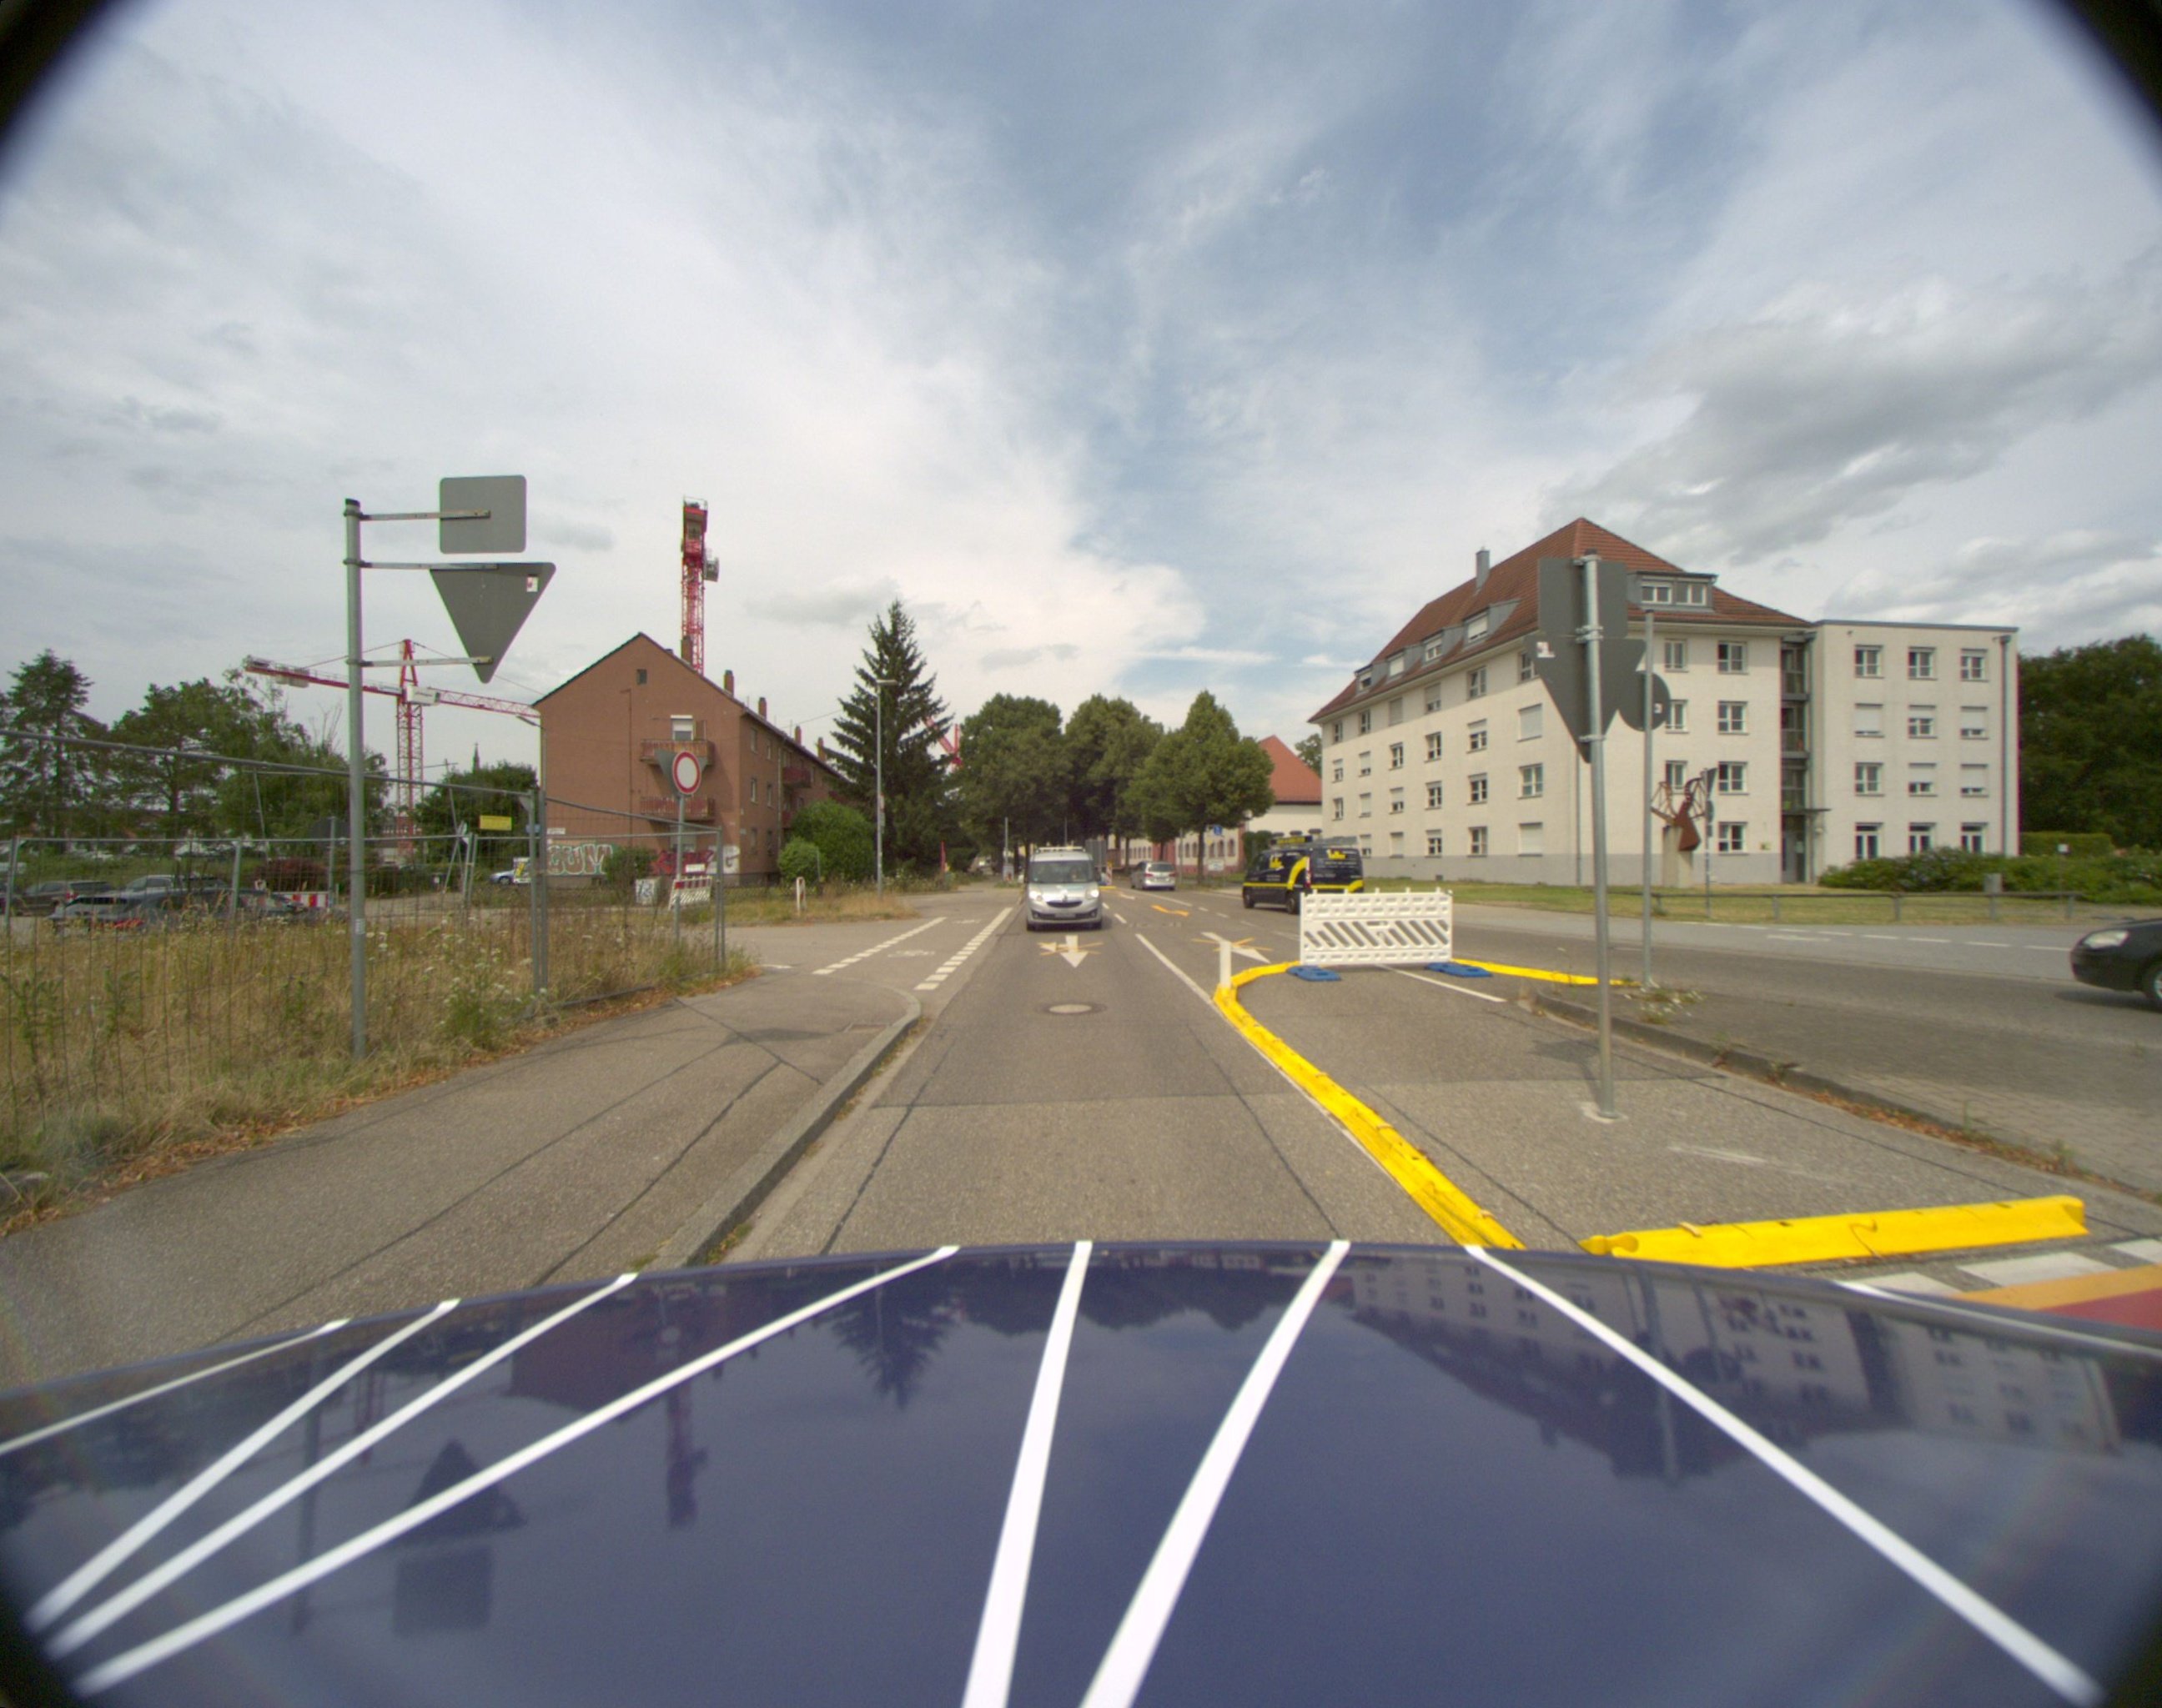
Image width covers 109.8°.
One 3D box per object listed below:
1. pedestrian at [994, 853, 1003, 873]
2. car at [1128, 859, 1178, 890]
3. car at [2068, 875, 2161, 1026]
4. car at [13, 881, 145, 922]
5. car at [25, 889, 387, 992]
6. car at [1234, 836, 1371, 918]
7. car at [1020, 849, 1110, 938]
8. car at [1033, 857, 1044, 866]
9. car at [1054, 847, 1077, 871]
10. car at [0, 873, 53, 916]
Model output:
[{"bbox_3d":[-8.400,0.923,77.497,0.856,2.002,0.731,-1,0,-10],"label":"pedestrian"},{"bbox_3d":[4.028,1.135,43.214,1.801,1.613,4.745,-1,0,-8],"label":"car"},{"bbox_3d":[11.471,0.910,6.357,1.635,1.406,3.713,1,-1,-28],"label":"car"},{"bbox_3d":[-41.684,1.948,31.646,4.006,1.593,1.804,-1,0,13],"label":"car"},{"bbox_3d":[-16.179,1.510,14.472,1.765,1.465,4.261,-1,0,5],"label":"car"},{"bbox_3d":[6.633,0.648,23.489,2.000,2.259,5.156,-1,0,-9],"label":"car"},{"bbox_3d":[-0.528,0.869,18.900,1.811,1.936,4.581,-1,0,-7],"label":"car"},{"bbox_3d":[-7.111,1.238,126.123,1.677,1.402,3.918,-1,0,-5],"label":"car"},{"bbox_3d":[-1.800,0.553,87.889,2.071,2.670,5.967,-1,0,-6],"label":"car"},{"bbox_3d":[-46.724,1.711,32.453,4.006,1.739,1.859,-1,0,12],"label":"car"}]
